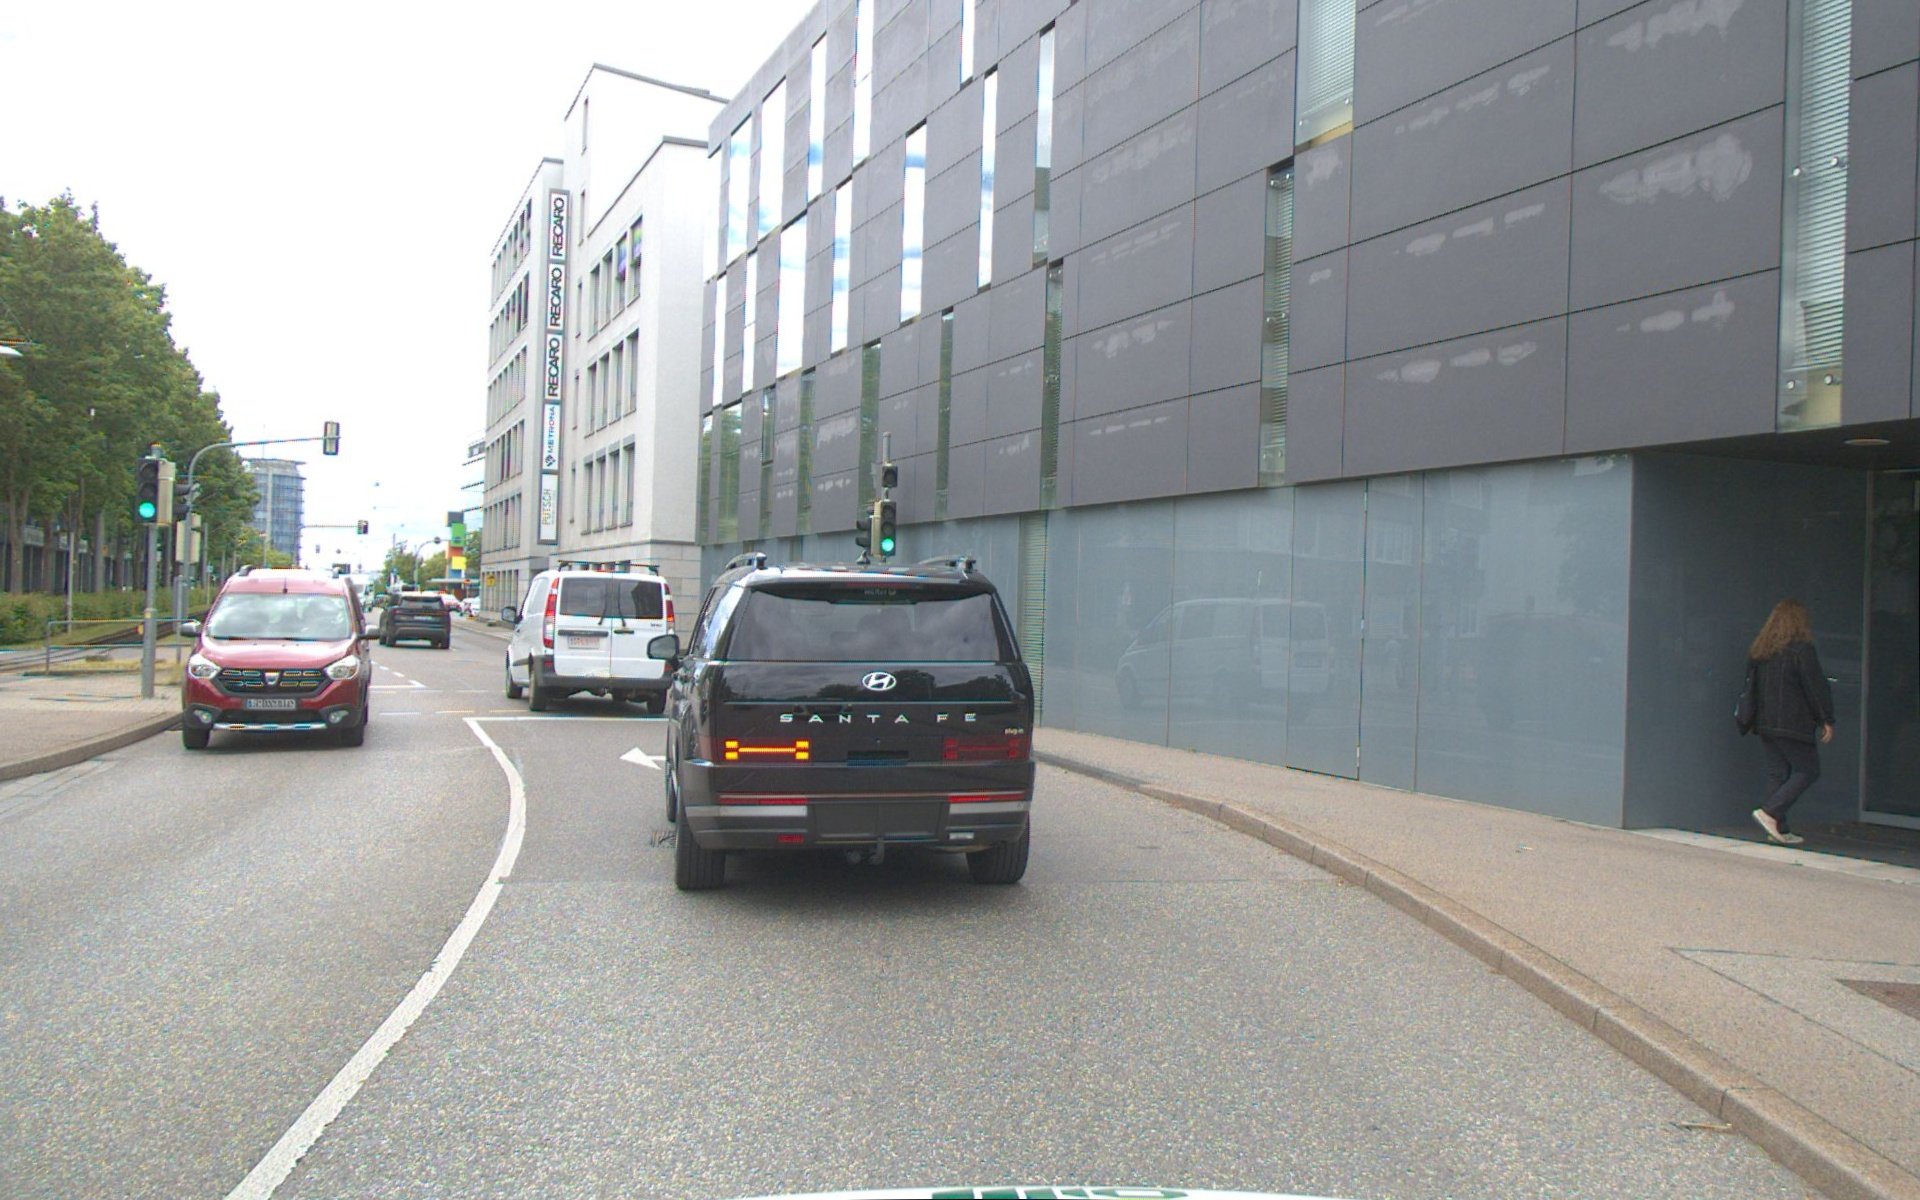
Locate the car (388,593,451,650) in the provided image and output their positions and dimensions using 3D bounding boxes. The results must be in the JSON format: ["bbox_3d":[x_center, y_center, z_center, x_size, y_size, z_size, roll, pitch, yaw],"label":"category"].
[{"bbox_3d":[-16.469,0.638,50.490,1.732,1.637,4.167,2,0,-18],"label":"car"}]

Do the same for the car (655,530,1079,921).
[{"bbox_3d":[-0.804,0.590,9.878,1.875,1.780,4.383,1,0,-12],"label":"car"}]

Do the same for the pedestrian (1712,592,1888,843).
[{"bbox_3d":[5.987,0.820,11.817,0.846,1.724,0.713,2,-1,-6],"label":"pedestrian"}]

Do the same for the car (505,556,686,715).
[{"bbox_3d":[-5.328,0.474,23.717,1.903,2.029,4.508,2,0,-20],"label":"car"}]

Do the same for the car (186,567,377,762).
[{"bbox_3d":[-7.207,0.612,17.890,1.655,1.840,4.328,0,0,-19],"label":"car"}]

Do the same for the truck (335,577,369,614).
[{"bbox_3d":[-45.373,-0.349,123.317,2.135,2.661,5.756,2,0,-22],"label":"truck"}]

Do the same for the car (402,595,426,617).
[{"bbox_3d":[-43.283,0.488,131.111,1.732,1.637,4.166,2,0,-18],"label":"car"}]
